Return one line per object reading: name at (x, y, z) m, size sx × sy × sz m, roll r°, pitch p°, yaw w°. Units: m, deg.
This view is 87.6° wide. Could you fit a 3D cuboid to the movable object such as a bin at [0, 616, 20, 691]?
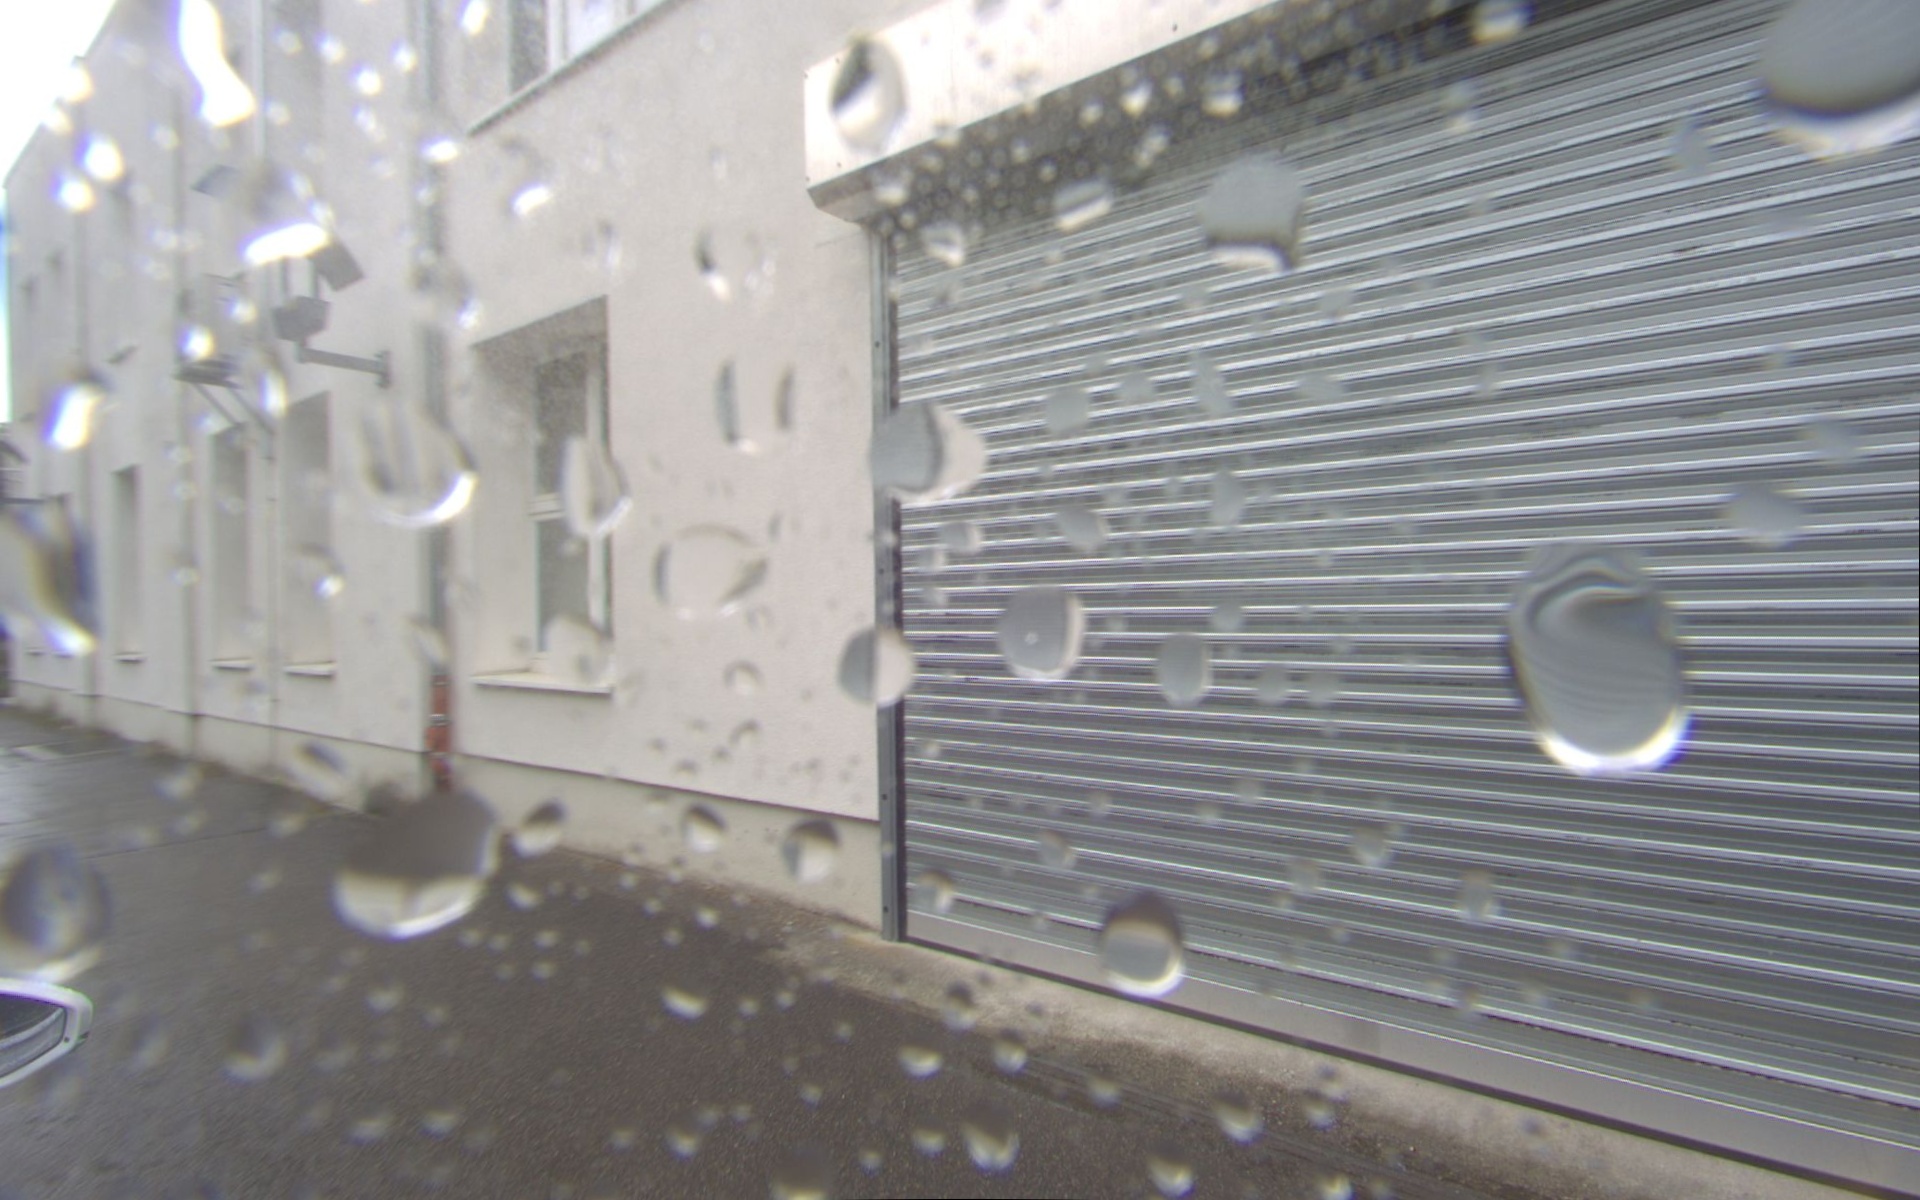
movable object such as a bin at (-19.224, 1.064, 19.453) m, size 1.221 × 1.455 × 1.210 m, roll -3°, pitch -2°, yaw 37°
